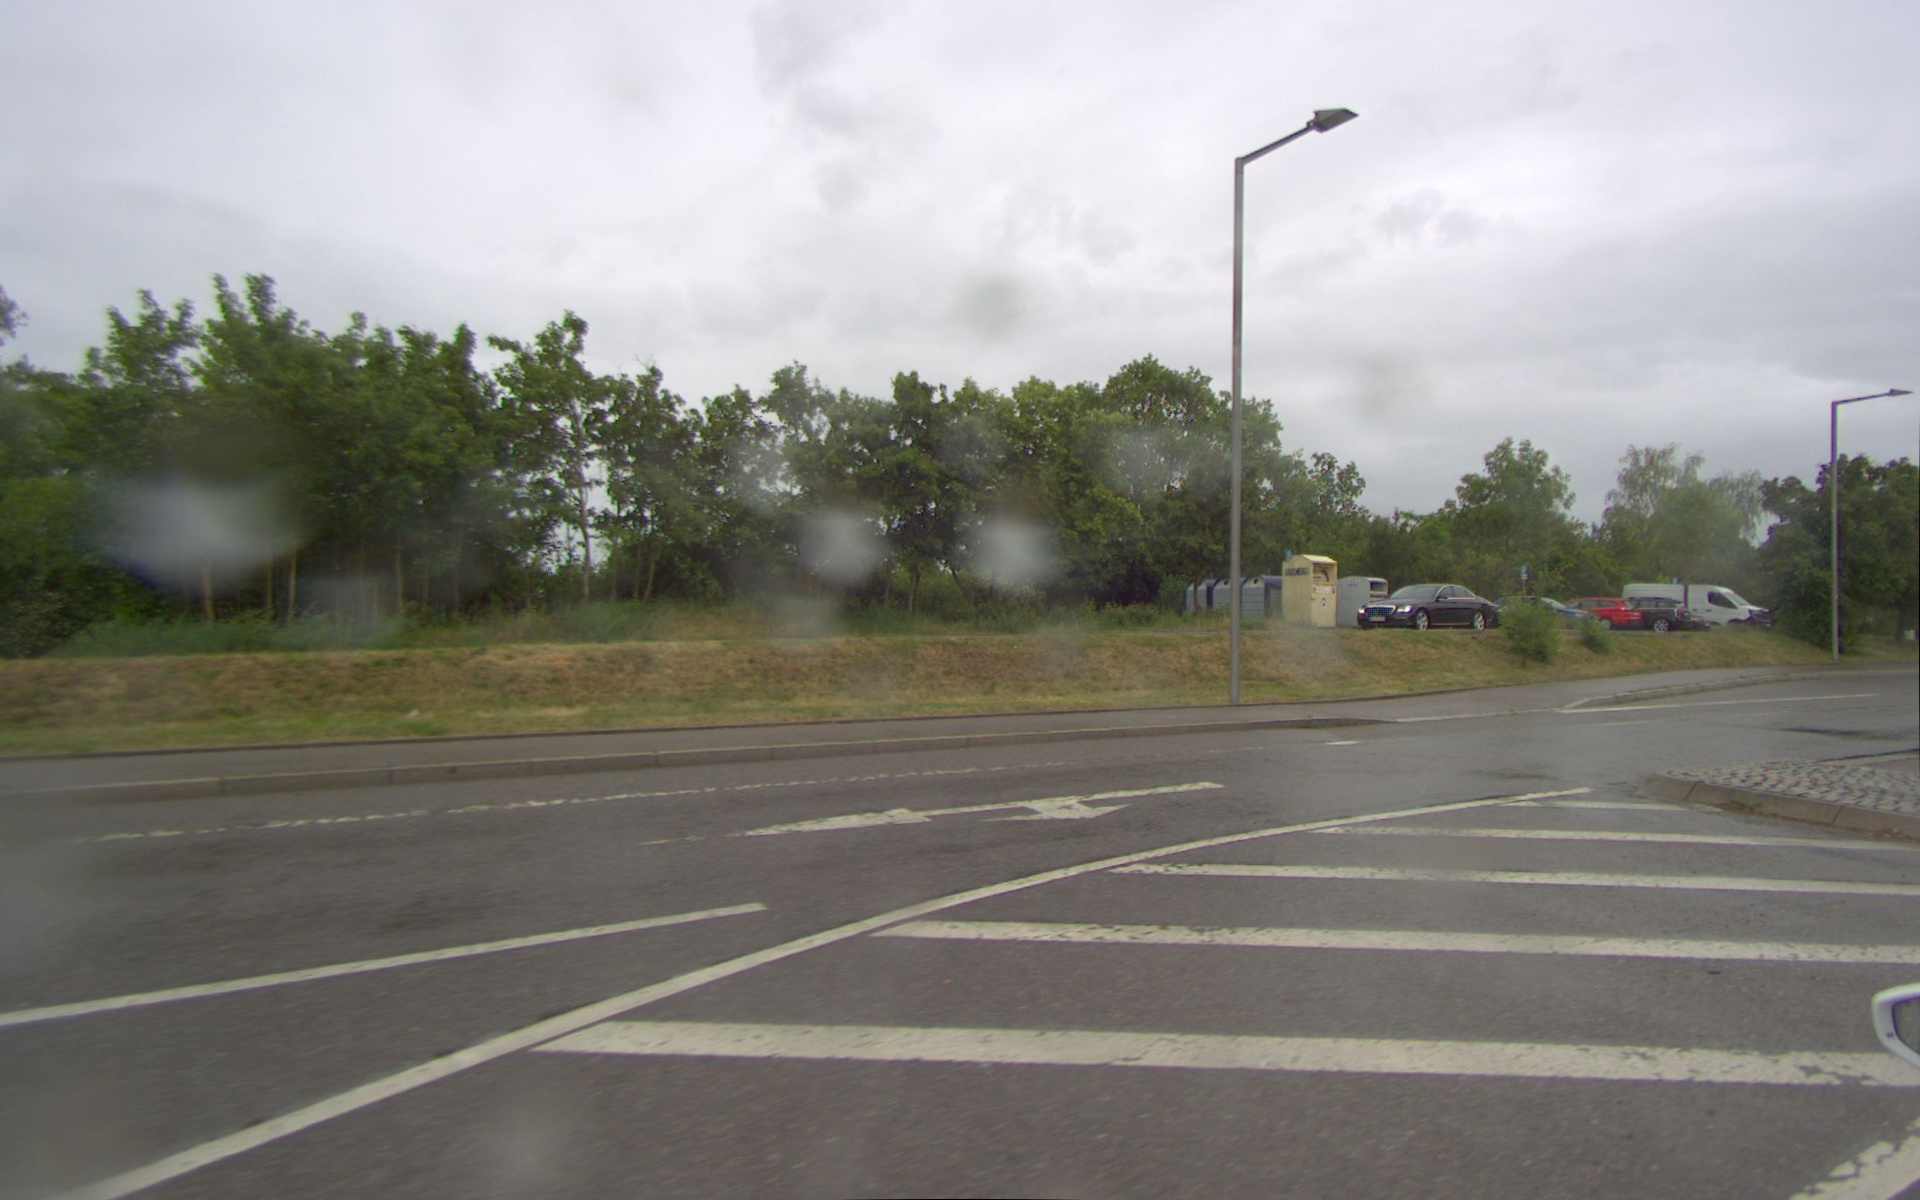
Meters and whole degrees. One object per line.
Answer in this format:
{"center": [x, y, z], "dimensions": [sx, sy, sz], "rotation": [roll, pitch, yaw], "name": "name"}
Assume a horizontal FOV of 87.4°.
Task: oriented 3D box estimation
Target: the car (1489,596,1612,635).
{"center": [24.354, 0.616, 41.569], "dimensions": [1.876, 1.382, 3.971], "rotation": [1, 1, -27], "name": "car"}

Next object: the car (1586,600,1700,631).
{"center": [31.308, 0.710, 46.169], "dimensions": [1.824, 1.382, 3.972], "rotation": [1, -1, -27], "name": "car"}

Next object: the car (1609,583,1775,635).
{"center": [37.212, 0.415, 51.288], "dimensions": [2.116, 2.429, 6.516], "rotation": [3, -1, -33], "name": "car"}

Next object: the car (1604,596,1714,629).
{"center": [33.192, 0.590, 47.814], "dimensions": [1.632, 1.382, 3.971], "rotation": [1, 1, -27], "name": "car"}

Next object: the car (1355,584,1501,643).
{"center": [13.829, 0.364, 29.612], "dimensions": [4.489, 1.589, 1.682], "rotation": [0, 2, -31], "name": "car"}

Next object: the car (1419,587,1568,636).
{"center": [20.152, 0.406, 38.137], "dimensions": [1.981, 1.716, 4.684], "rotation": [1, 0, -30], "name": "car"}

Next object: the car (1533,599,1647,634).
{"center": [28.246, 0.748, 45.136], "dimensions": [1.825, 1.488, 3.970], "rotation": [1, -1, -29], "name": "car"}
